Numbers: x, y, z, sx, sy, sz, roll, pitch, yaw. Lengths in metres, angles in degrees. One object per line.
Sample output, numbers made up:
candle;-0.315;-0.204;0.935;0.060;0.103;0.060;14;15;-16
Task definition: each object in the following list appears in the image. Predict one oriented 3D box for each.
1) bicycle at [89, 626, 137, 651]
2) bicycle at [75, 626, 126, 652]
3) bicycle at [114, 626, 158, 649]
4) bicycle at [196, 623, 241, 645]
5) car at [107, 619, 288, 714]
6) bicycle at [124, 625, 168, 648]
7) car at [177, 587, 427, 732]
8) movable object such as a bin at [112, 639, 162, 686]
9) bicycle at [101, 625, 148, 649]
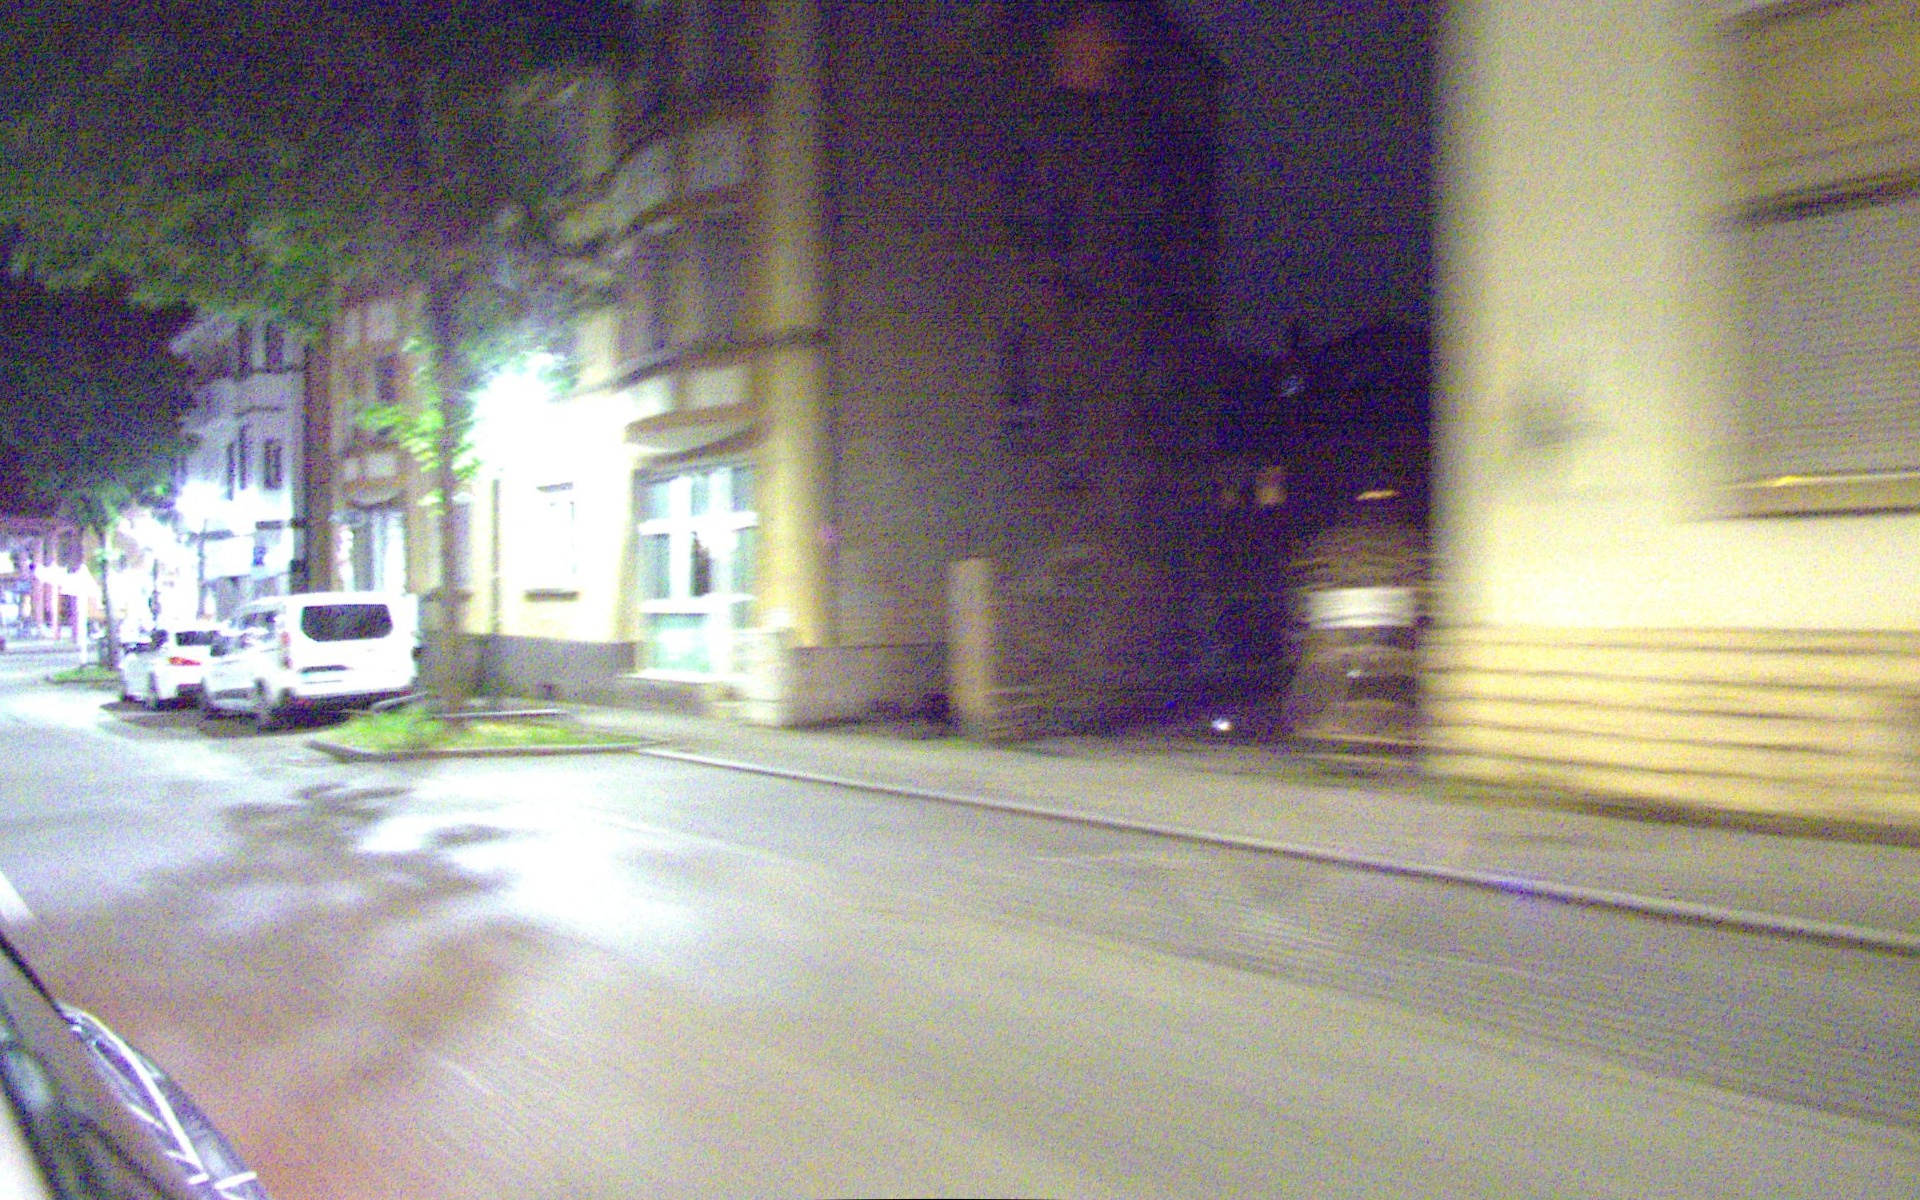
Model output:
bicycle;-41.018;1.859;49.019;1.750;1.160;0.615;0;0;-6
bicycle;-40.901;1.848;48.173;1.760;1.160;0.761;0;0;-6
bicycle;-41.094;1.866;50.492;1.752;1.160;0.582;0;0;0
bicycle;-40.252;1.841;54.936;1.841;1.143;0.726;0;0;-7
car;-14.266;1.127;18.819;4.880;1.461;1.819;0;1;42
bicycle;-41.077;1.835;51.100;1.752;1.160;0.582;0;0;0
car;-10.012;0.787;15.240;4.811;1.857;1.864;-1;0;40
movable object such as a bin;-19.610;1.481;24.117;0.617;1.057;0.689;0;1;1
bicycle;-41.095;1.819;49.774;1.750;1.160;0.583;0;0;-6
